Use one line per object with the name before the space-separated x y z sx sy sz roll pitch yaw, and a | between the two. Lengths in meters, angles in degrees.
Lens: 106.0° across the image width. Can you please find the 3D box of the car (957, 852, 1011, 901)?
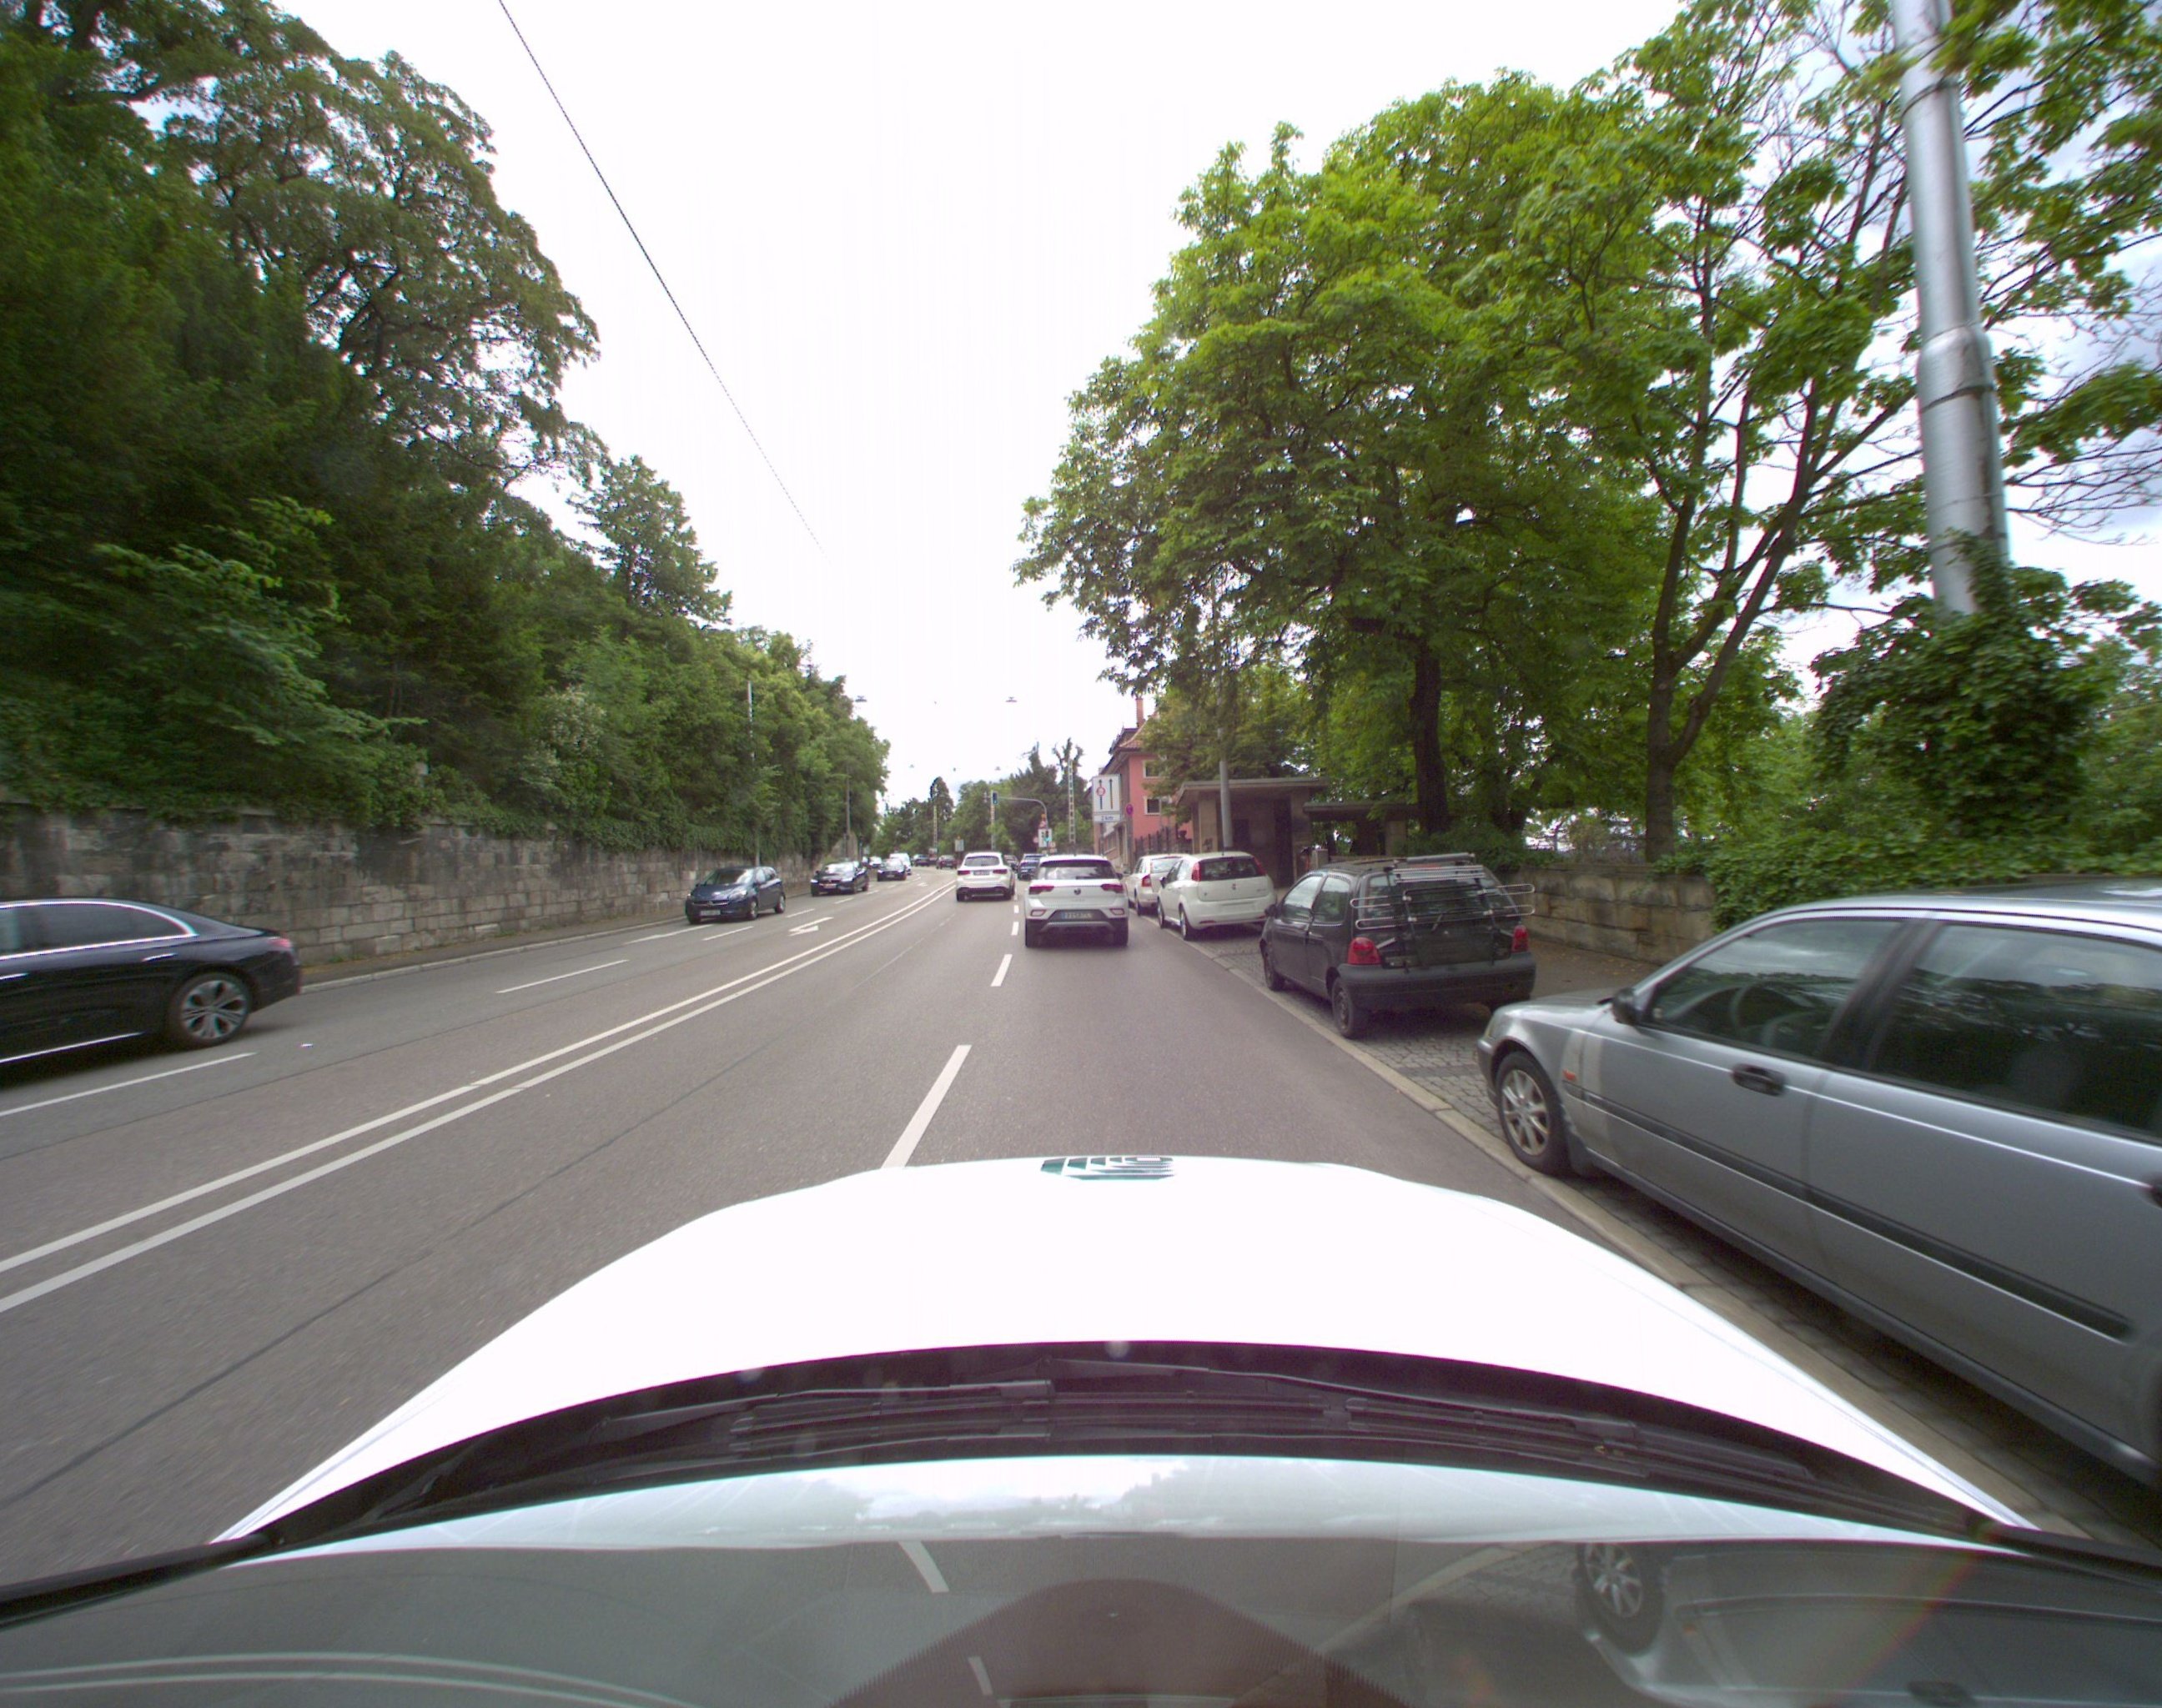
car | -3.366 0.761 28.777 1.755 1.609 3.788 0 -1 -5

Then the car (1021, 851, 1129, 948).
car | -0.230 0.761 15.119 1.755 1.556 3.789 0 -1 -5

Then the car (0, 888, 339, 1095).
car | -8.848 1.090 6.182 1.996 1.409 4.755 -2 -1 0

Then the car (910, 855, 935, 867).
car | -22.098 1.000 113.210 2.008 1.575 4.107 -1 -1 -33

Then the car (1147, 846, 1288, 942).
car | 2.466 0.656 15.714 1.712 1.471 4.033 -5 1 -4

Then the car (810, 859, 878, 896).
car | -10.451 0.995 36.261 1.838 1.409 4.451 -3 0 -3

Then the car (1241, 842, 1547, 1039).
car | 2.802 0.688 8.117 1.557 1.422 3.422 -5 0 -2

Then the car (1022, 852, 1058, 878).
car | -2.381 0.653 48.100 1.988 1.414 4.147 -2 -1 -2

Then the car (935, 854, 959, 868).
car | -14.190 0.782 85.926 1.787 1.454 3.972 0 -1 -20

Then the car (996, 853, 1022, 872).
car | -5.873 0.714 66.619 1.989 1.450 4.145 -1 -1 -4

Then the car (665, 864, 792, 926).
car | -9.632 1.070 22.615 1.838 1.436 3.997 -3 0 -2

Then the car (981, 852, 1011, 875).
car | -6.120 0.670 58.918 1.989 1.556 4.145 0 0 -4

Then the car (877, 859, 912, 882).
car | -12.357 1.082 54.149 1.559 1.402 4.246 -3 0 -5

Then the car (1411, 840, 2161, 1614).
car | 2.884 0.695 2.624 1.764 1.399 4.550 -3 -1 0

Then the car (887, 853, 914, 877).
car | -14.906 0.957 67.564 1.892 1.848 4.382 -1 -2 -9

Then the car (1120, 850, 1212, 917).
car | 2.090 0.694 21.164 1.671 1.461 4.361 -3 0 -3

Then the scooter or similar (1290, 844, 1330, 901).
scooter or similar | 5.354 0.418 19.083 0.515 1.260 1.168 -4 0 1
